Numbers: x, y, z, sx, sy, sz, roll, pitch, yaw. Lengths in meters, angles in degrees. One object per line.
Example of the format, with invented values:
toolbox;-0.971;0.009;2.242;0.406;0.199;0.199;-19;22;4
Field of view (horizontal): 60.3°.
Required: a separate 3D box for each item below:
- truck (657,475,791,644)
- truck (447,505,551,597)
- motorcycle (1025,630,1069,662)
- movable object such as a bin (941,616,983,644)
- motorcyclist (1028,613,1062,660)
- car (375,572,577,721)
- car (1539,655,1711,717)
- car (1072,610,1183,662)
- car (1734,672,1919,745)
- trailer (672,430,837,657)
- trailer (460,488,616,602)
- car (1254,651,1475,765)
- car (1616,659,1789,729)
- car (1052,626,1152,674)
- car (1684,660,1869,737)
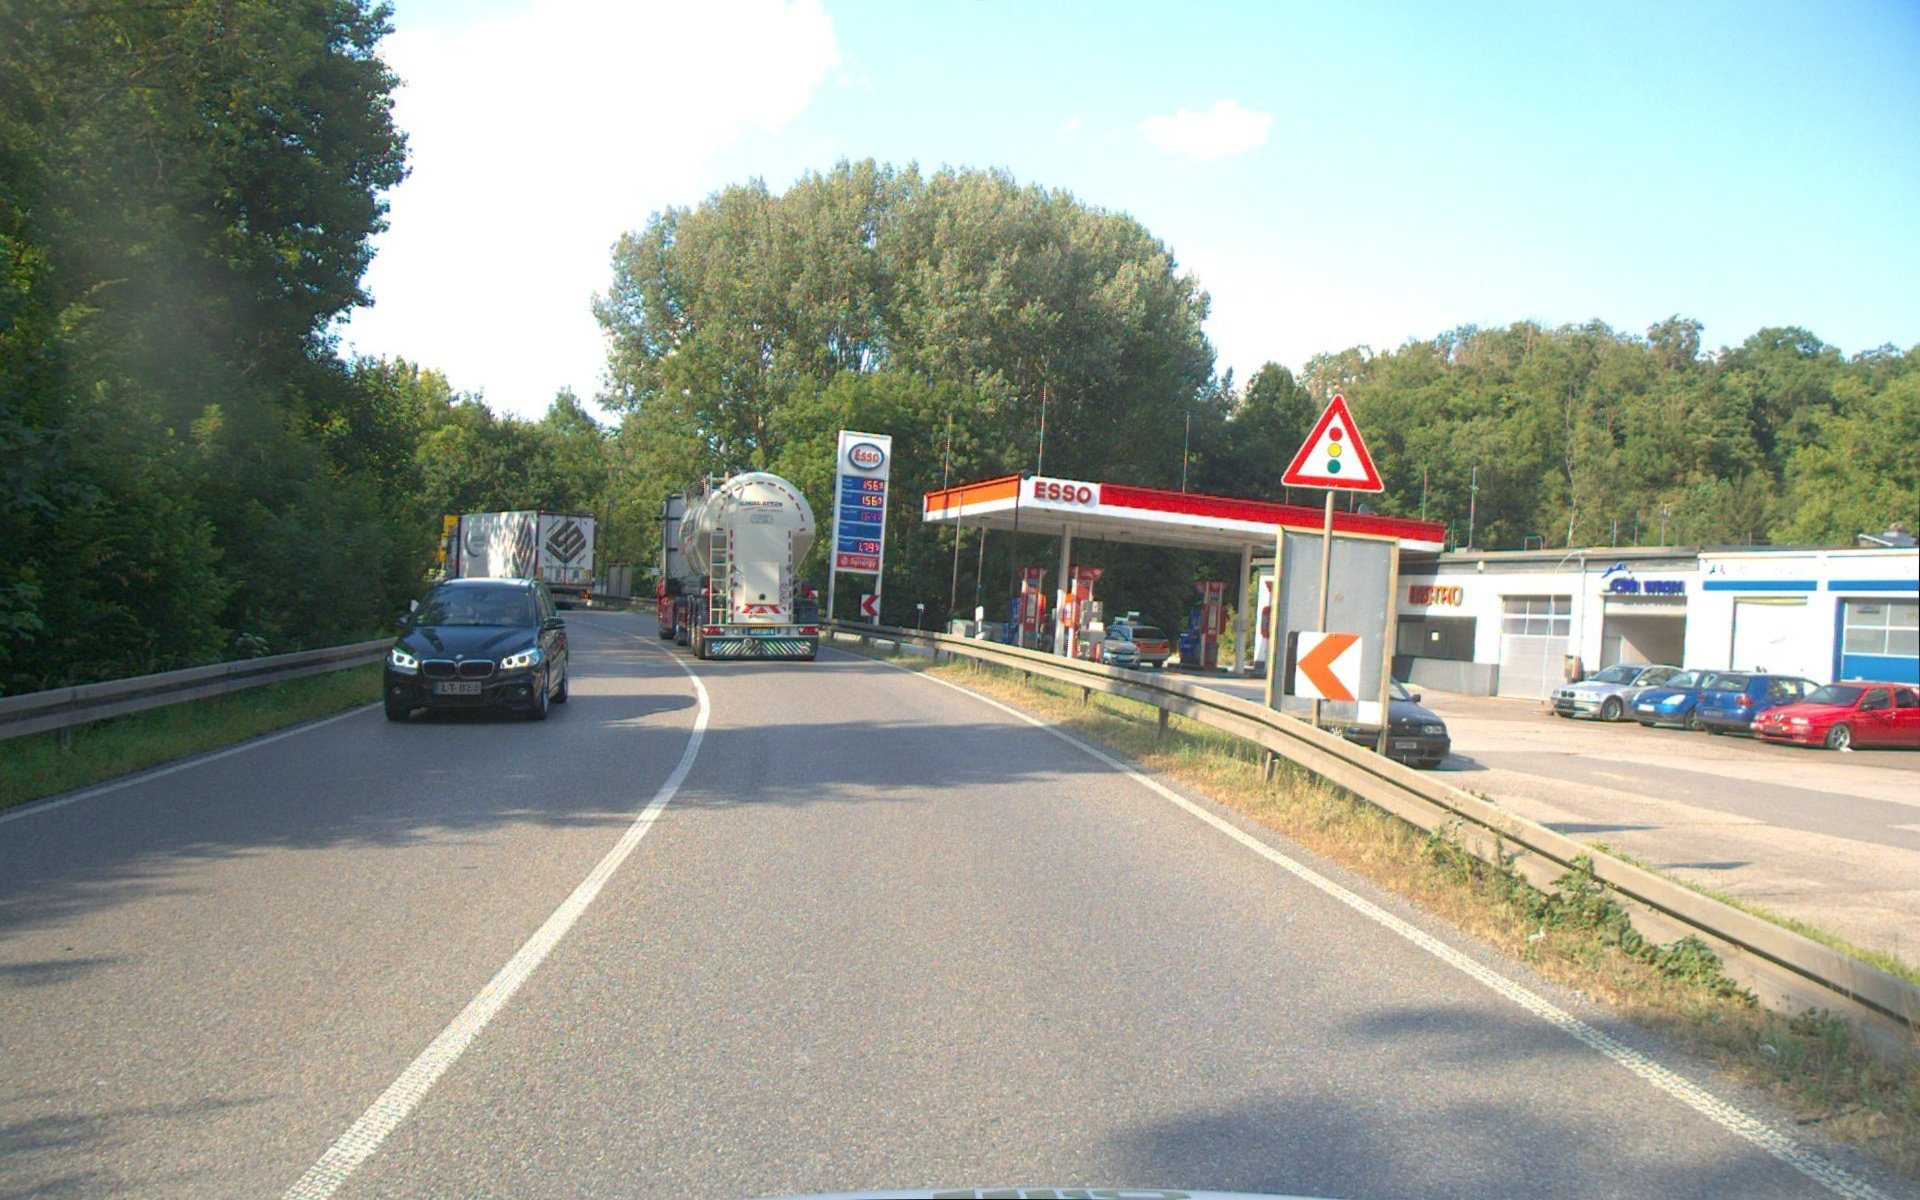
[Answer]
truck;-6.327;-0.996;43.588;2.777;4.105;5.871;1;0;-15
truck;-22.267;-2.272;79.608;3.412;4.158;6.429;2;-1;-28
motorcycle;3.114;1.639;59.493;0.750;1.029;2.328;3;0;-19
movable object such as a bin;0.117;1.805;98.575;1.254;1.444;2.529;7;-2;-33
motorcyclist;3.063;1.323;59.725;0.845;1.632;0.923;4;-1;-19
car;-5.748;0.495;20.109;1.833;1.617;4.239;0;0;-9
car;16.703;2.158;41.524;3.903;1.378;1.764;2;0;-23
car;6.185;1.302;61.700;2.061;1.656;5.151;3;0;-19
car;18.728;2.293;35.066;4.005;1.371;1.885;2;0;-19
trailer;-4.951;-1.158;38.112;2.836;4.532;9.575;1;0;-13
trailer;-19.127;-2.276;74.100;3.507;4.592;12.856;2;-1;-29
car;6.114;1.601;25.552;1.790;1.376;4.264;3;0;-9
car;17.527;2.212;39.067;3.496;1.431;1.682;3;0;-19
car;4.789;1.671;56.395;1.814;1.342;4.367;3;0;-18
car;18.275;2.203;37.042;3.490;1.471;1.724;3;0;-19
